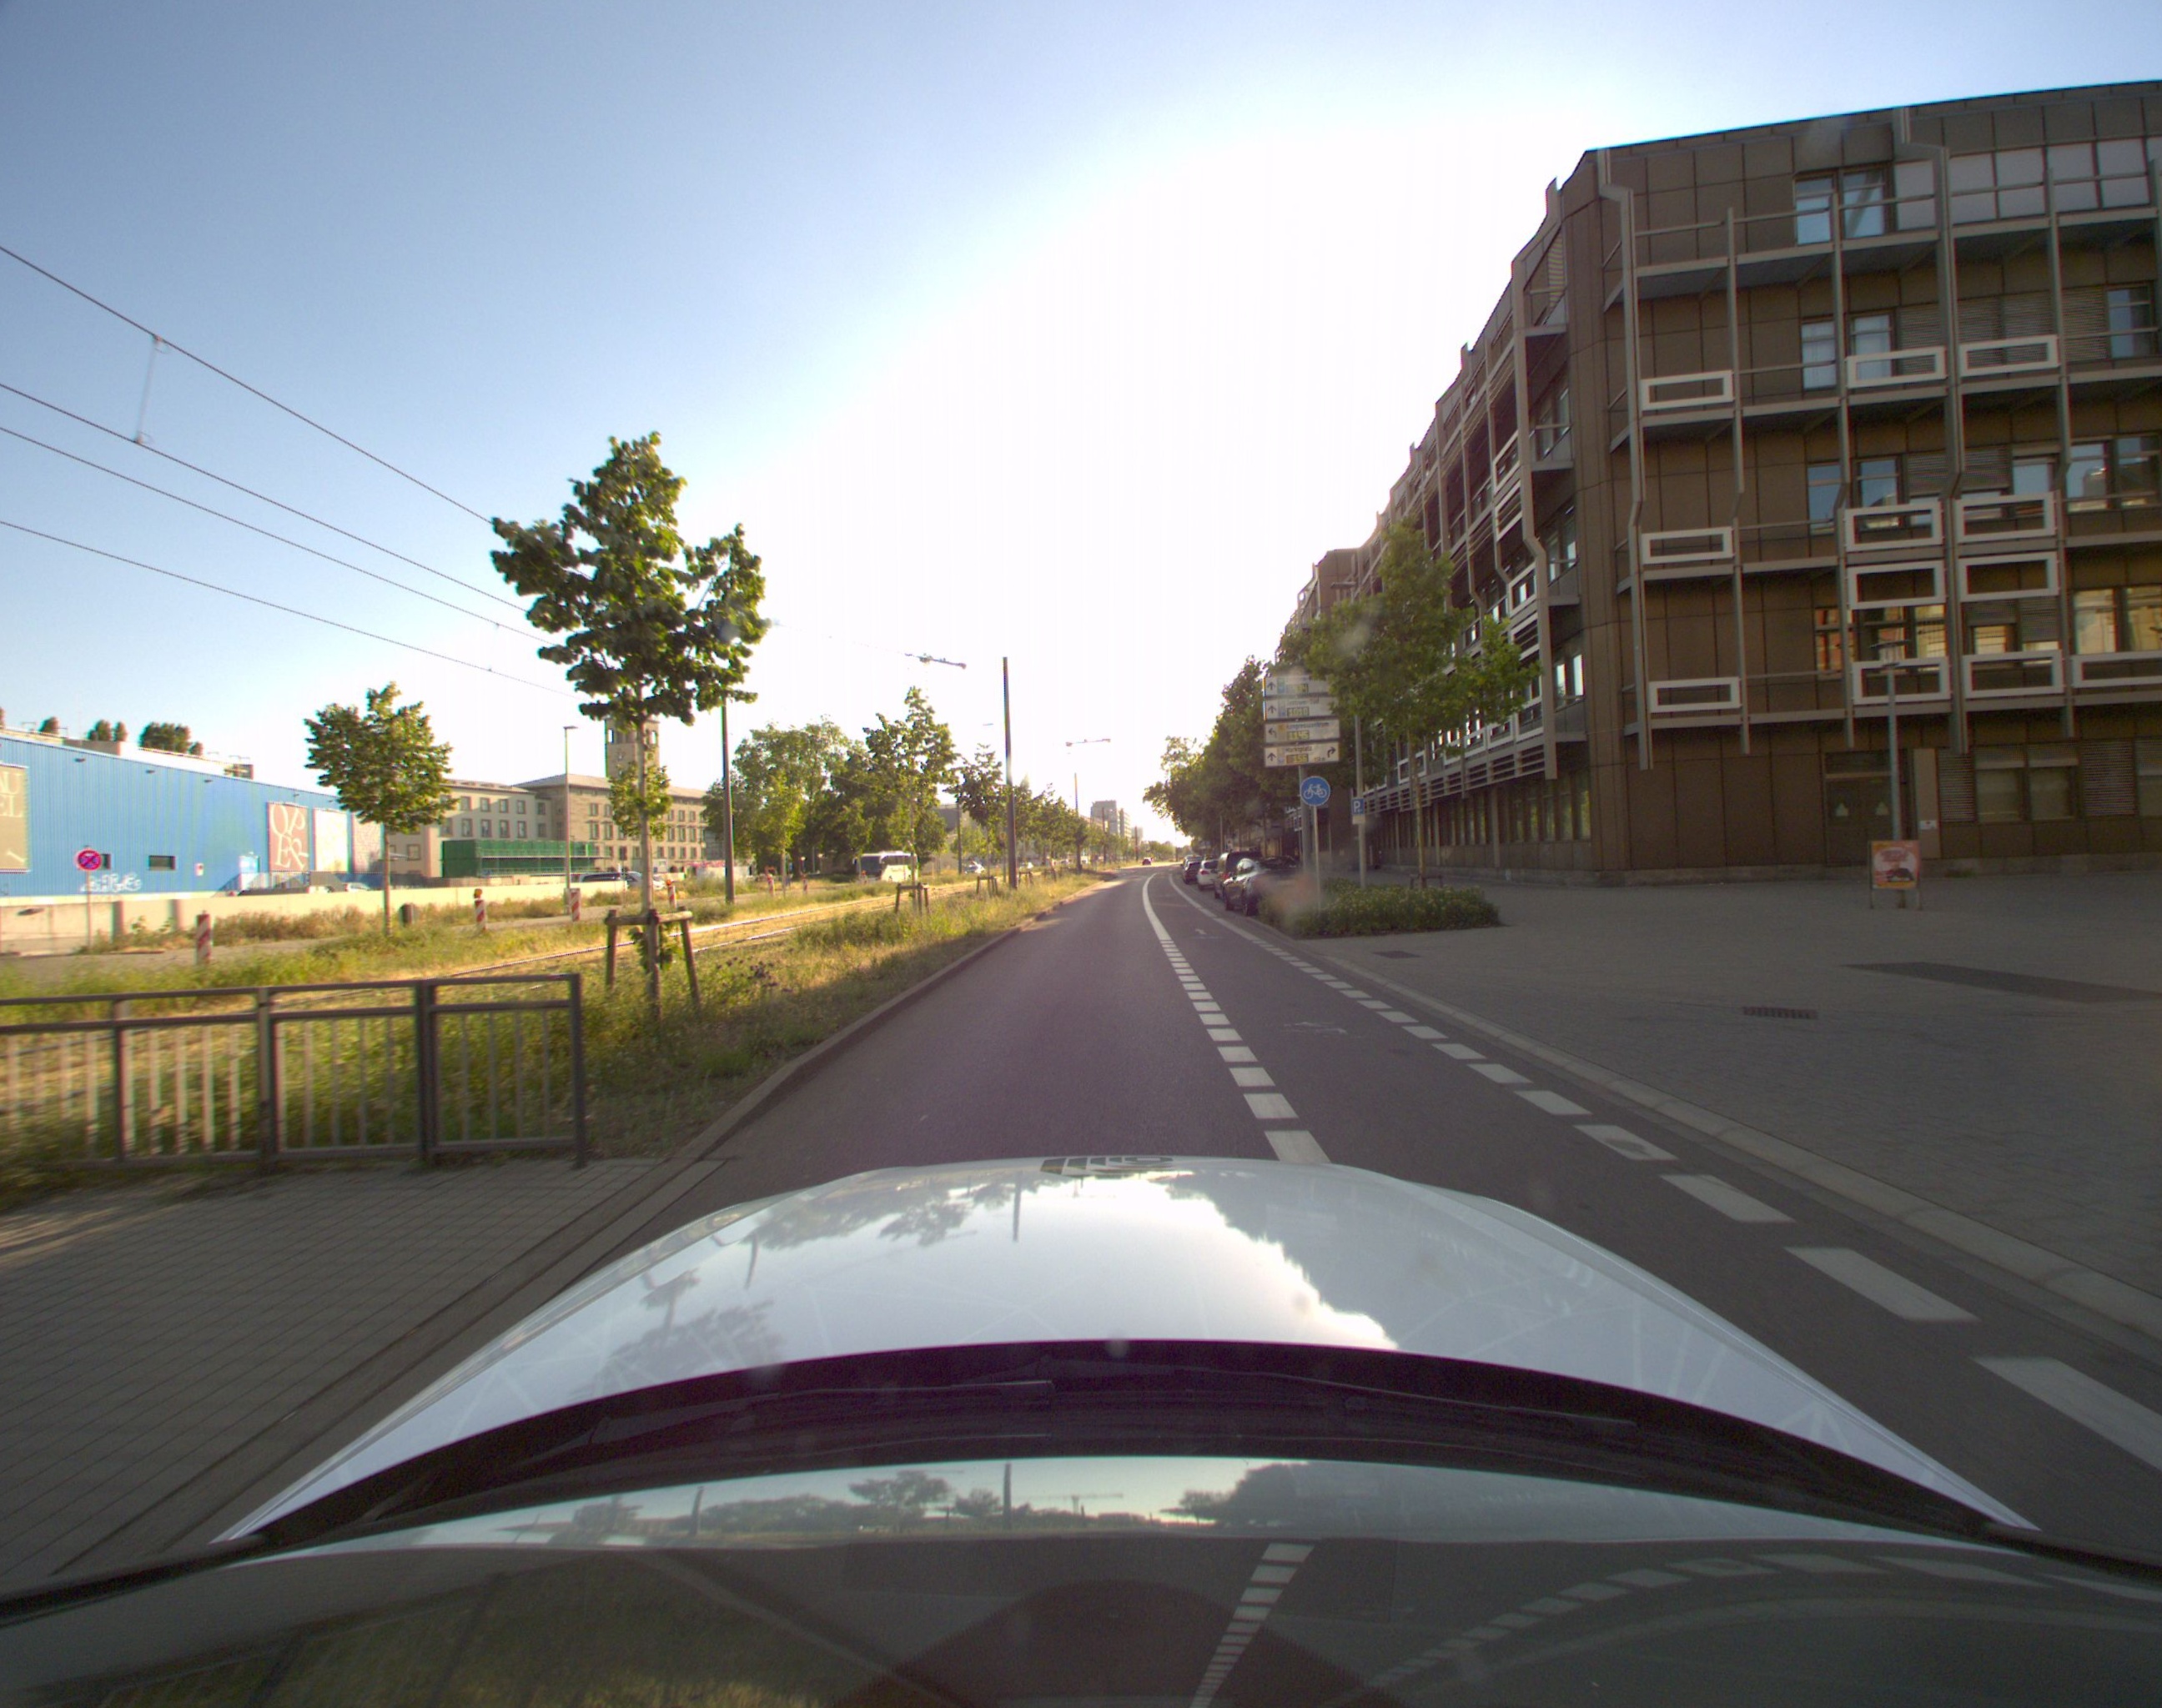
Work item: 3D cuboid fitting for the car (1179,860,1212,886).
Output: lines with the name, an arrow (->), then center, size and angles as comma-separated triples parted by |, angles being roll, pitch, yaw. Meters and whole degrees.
car -> 7.273, 1.187, 52.027 | 1.786, 1.449, 4.383 | -4, -1, 6

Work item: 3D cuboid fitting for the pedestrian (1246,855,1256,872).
pedestrian -> 16.552, 0.941, 79.424 | 0.785, 1.648, 1.139 | -3, -1, 6

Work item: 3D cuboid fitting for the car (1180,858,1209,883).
car -> 8.040, 1.126, 57.773 | 1.720, 1.621, 4.221 | -4, -1, 5

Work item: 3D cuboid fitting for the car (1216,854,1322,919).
car -> 5.393, 0.888, 24.038 | 1.925, 1.598, 4.697 | -4, -1, -1

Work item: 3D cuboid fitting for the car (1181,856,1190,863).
car -> 24.022, 1.307, 186.987 | 1.930, 1.428, 3.932 | -2, -1, 6

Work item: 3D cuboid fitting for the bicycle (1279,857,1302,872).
bicycle -> 16.517, 0.844, 64.227 | 1.618, 1.082, 0.393 | -3, -1, 7

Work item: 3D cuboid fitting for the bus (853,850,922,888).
bus -> -19.698, 1.477, 84.069 | 2.785, 3.595, 12.719 | -2, -1, 6

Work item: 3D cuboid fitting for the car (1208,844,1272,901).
car -> 6.027, 0.676, 31.387 | 1.727, 1.919, 4.397 | -4, -1, 3

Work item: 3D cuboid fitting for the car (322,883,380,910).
car -> -49.562, 2.835, 55.390 | 1.412, 1.636, 4.197 | -2, -1, -19

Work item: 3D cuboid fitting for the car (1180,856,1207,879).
car -> 8.759, 1.028, 63.683 | 1.720, 1.688, 4.520 | -4, -1, 5

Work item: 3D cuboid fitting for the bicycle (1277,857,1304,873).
bicycle -> 15.871, 0.829, 61.763 | 1.893, 1.093, 0.392 | -3, -1, 0

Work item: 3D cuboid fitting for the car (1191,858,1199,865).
car -> 28.055, 1.809, 200.620 | 1.930, 1.485, 3.932 | -2, -1, 6

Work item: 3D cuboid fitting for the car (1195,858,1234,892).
car -> 6.685, 1.005, 41.099 | 1.655, 1.490, 4.211 | -4, -1, 6

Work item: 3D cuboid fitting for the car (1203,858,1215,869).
car -> 19.557, 1.438, 124.345 | 1.696, 1.418, 4.286 | -4, -1, 8

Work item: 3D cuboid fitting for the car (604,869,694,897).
car -> -30.735, 2.053, 58.025 | 5.203, 1.717, 2.127 | -2, -1, 4

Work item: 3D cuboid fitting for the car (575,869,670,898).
car -> -31.074, 1.976, 55.261 | 5.203, 1.717, 2.127 | -2, -1, 4

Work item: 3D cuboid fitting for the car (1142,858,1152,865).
car -> 13.424, 1.472, 165.754 | 1.767, 1.428, 4.007 | -1, 0, 6
